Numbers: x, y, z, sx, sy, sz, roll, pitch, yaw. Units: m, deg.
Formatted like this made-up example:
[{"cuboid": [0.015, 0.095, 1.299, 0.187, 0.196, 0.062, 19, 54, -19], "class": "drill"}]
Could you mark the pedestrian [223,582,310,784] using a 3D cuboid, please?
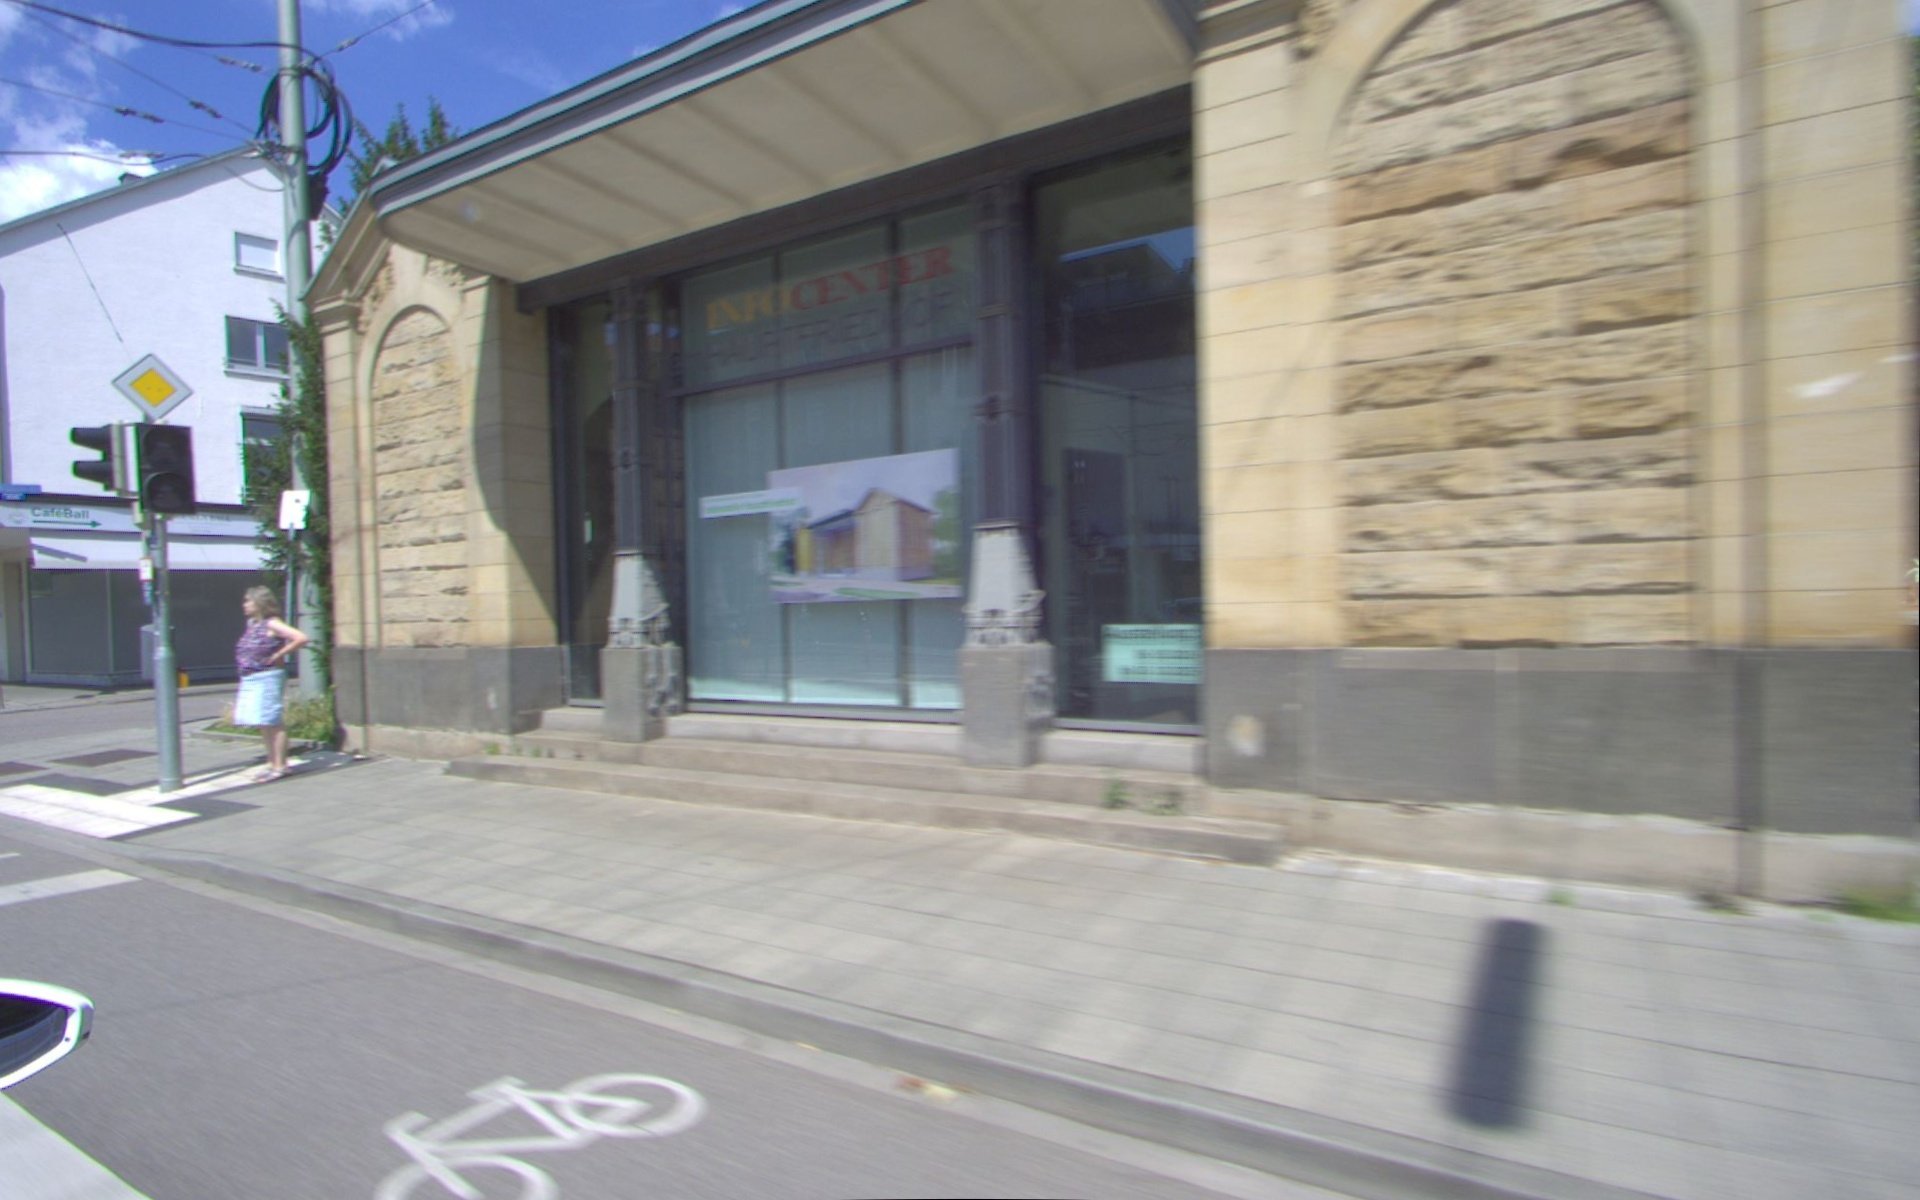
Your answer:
[{"cuboid": [-6.122, 0.699, 8.844, 0.558, 1.688, 0.677, -2, 1, -36], "class": "pedestrian"}]
